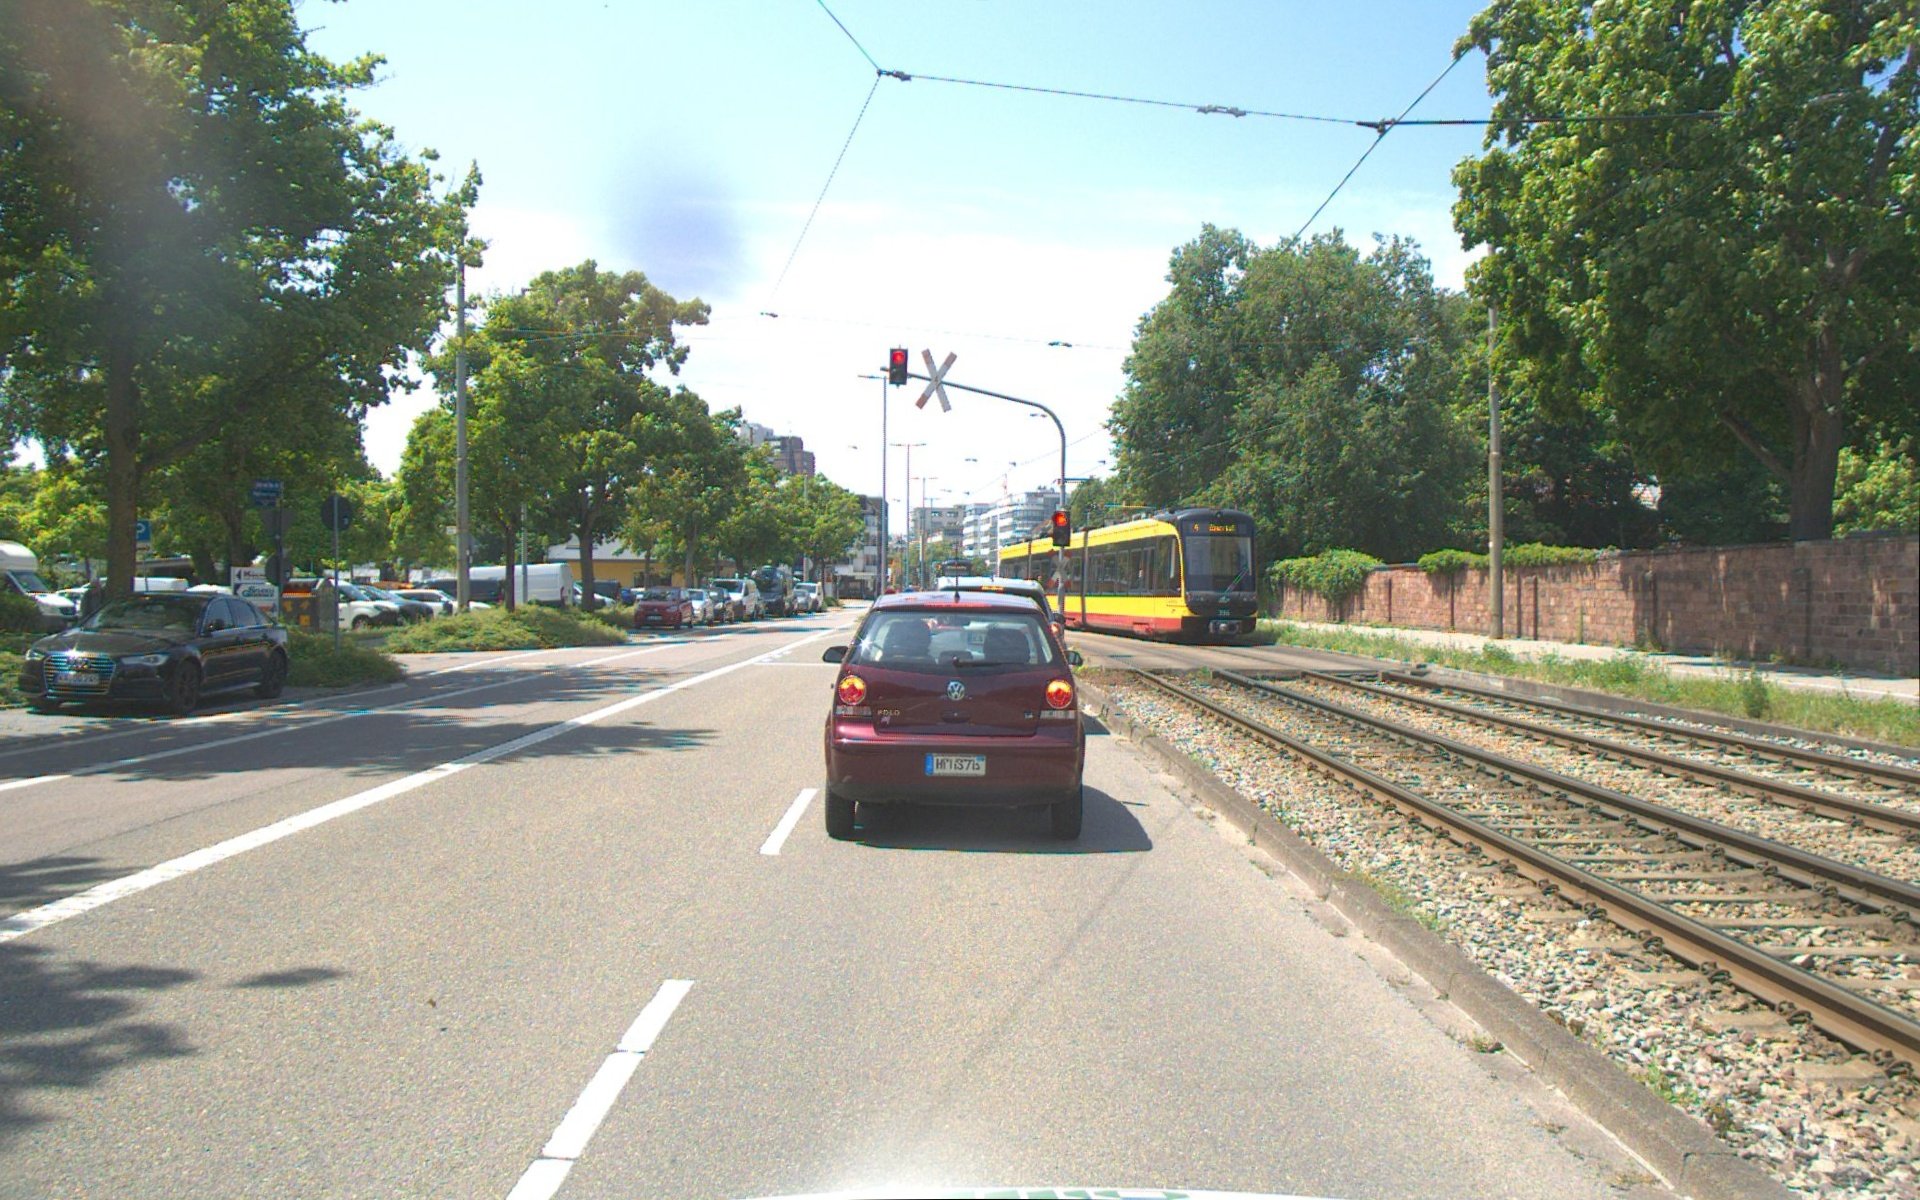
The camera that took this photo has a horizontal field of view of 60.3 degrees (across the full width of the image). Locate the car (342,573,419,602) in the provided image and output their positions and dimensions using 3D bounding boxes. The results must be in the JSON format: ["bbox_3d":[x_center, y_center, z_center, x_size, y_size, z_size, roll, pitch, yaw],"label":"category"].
[{"bbox_3d":[-35.241,-0.749,100.628,3.939,1.645,1.816,2,0,-2],"label":"car"}]

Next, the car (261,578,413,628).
[{"bbox_3d":[-20.447,0.095,54.395,4.251,1.612,1.914,0,0,5],"label":"car"}]

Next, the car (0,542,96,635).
[{"bbox_3d":[-33.088,-0.464,55.577,6.714,3.017,2.363,2,0,-2],"label":"car"}]

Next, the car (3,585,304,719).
[{"bbox_3d":[-10.340,0.591,21.634,1.782,1.502,4.448,2,1,-1],"label":"car"}]

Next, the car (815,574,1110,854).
[{"bbox_3d":[-0.030,0.632,11.442,1.638,1.548,3.999,2,1,-1],"label":"car"}]

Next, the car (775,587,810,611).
[{"bbox_3d":[-10.746,-0.070,106.488,1.581,1.466,4.001,2,0,3],"label":"car"}]

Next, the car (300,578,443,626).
[{"bbox_3d":[-20.352,0.064,57.317,4.251,1.612,1.914,0,0,5],"label":"car"}]

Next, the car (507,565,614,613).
[{"bbox_3d":[-21.007,-0.579,87.108,4.993,2.283,2.378,2,0,0],"label":"car"}]

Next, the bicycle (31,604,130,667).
[{"bbox_3d":[-15.617,0.620,29.415,0.686,1.047,1.829,2,0,3],"label":"bicycle"}]

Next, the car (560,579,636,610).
[{"bbox_3d":[-21.117,-0.328,96.580,3.938,1.645,1.816,2,0,0],"label":"car"}]

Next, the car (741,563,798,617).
[{"bbox_3d":[-10.239,-0.530,89.217,2.313,2.739,5.307,2,0,0],"label":"car"}]

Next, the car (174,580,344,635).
[{"bbox_3d":[-20.928,0.208,49.500,4.256,1.612,1.912,0,0,-3],"label":"car"}]

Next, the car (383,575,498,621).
[{"bbox_3d":[-20.481,-0.080,65.348,3.906,1.776,1.998,0,0,-2],"label":"car"}]

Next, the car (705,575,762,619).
[{"bbox_3d":[-10.404,-0.105,76.172,1.746,1.914,4.787,2,0,2],"label":"car"}]

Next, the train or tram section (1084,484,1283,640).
[{"bbox_3d":[6.060,-1.018,47.718,2.969,3.864,13.077,0,1,-5],"label":"train or tram section"}]

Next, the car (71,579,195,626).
[{"bbox_3d":[-32.734,0.093,65.557,3.913,1.682,1.812,2,0,-9],"label":"car"}]

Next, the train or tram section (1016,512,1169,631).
[{"bbox_3d":[4.579,-1.004,60.643,2.971,3.864,13.068,0,1,-7],"label":"train or tram section"}]

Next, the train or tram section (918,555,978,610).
[{"bbox_3d":[-0.968,-1.282,118.759,2.689,3.672,12.849,2,1,-7],"label":"train or tram section"}]

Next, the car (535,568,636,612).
[{"bbox_3d":[-20.838,-0.547,92.281,4.993,2.283,2.378,2,0,0],"label":"car"}]

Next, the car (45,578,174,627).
[{"bbox_3d":[-32.432,0.093,63.141,3.913,1.682,1.812,2,0,-9],"label":"car"}]

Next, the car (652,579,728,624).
[{"bbox_3d":[-10.707,0.075,65.928,1.934,1.629,4.560,2,0,4],"label":"car"}]

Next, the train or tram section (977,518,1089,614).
[{"bbox_3d":[3.039,-1.453,73.336,2.970,3.864,12.741,0,1,-7],"label":"train or tram section"}]

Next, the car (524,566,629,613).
[{"bbox_3d":[-20.733,-0.556,89.583,4.993,2.283,2.378,2,0,0],"label":"car"}]

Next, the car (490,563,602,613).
[{"bbox_3d":[-20.957,-0.592,83.921,4.993,2.283,2.378,2,0,0],"label":"car"}]

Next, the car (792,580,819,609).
[{"bbox_3d":[-10.490,-0.349,112.496,1.741,1.860,3.995,2,0,-6],"label":"car"}]

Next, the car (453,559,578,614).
[{"bbox_3d":[-20.315,-0.620,75.800,4.993,2.283,2.378,2,0,0],"label":"car"}]

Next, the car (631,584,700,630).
[{"bbox_3d":[-10.523,0.260,59.382,1.628,1.523,4.000,2,0,1],"label":"car"}]

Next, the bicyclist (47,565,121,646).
[{"bbox_3d":[-15.579,0.095,29.433,0.792,1.398,0.828,2,-1,2],"label":"bicyclist"}]

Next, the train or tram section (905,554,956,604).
[{"bbox_3d":[-2.394,-1.660,130.086,2.689,3.672,10.933,2,1,-7],"label":"train or tram section"}]

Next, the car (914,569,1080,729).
[{"bbox_3d":[0.348,0.506,19.770,1.741,1.676,3.999,2,1,-2],"label":"car"}]

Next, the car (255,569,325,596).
[{"bbox_3d":[-44.873,-1.165,110.824,3.938,1.645,1.816,2,0,0],"label":"car"}]
